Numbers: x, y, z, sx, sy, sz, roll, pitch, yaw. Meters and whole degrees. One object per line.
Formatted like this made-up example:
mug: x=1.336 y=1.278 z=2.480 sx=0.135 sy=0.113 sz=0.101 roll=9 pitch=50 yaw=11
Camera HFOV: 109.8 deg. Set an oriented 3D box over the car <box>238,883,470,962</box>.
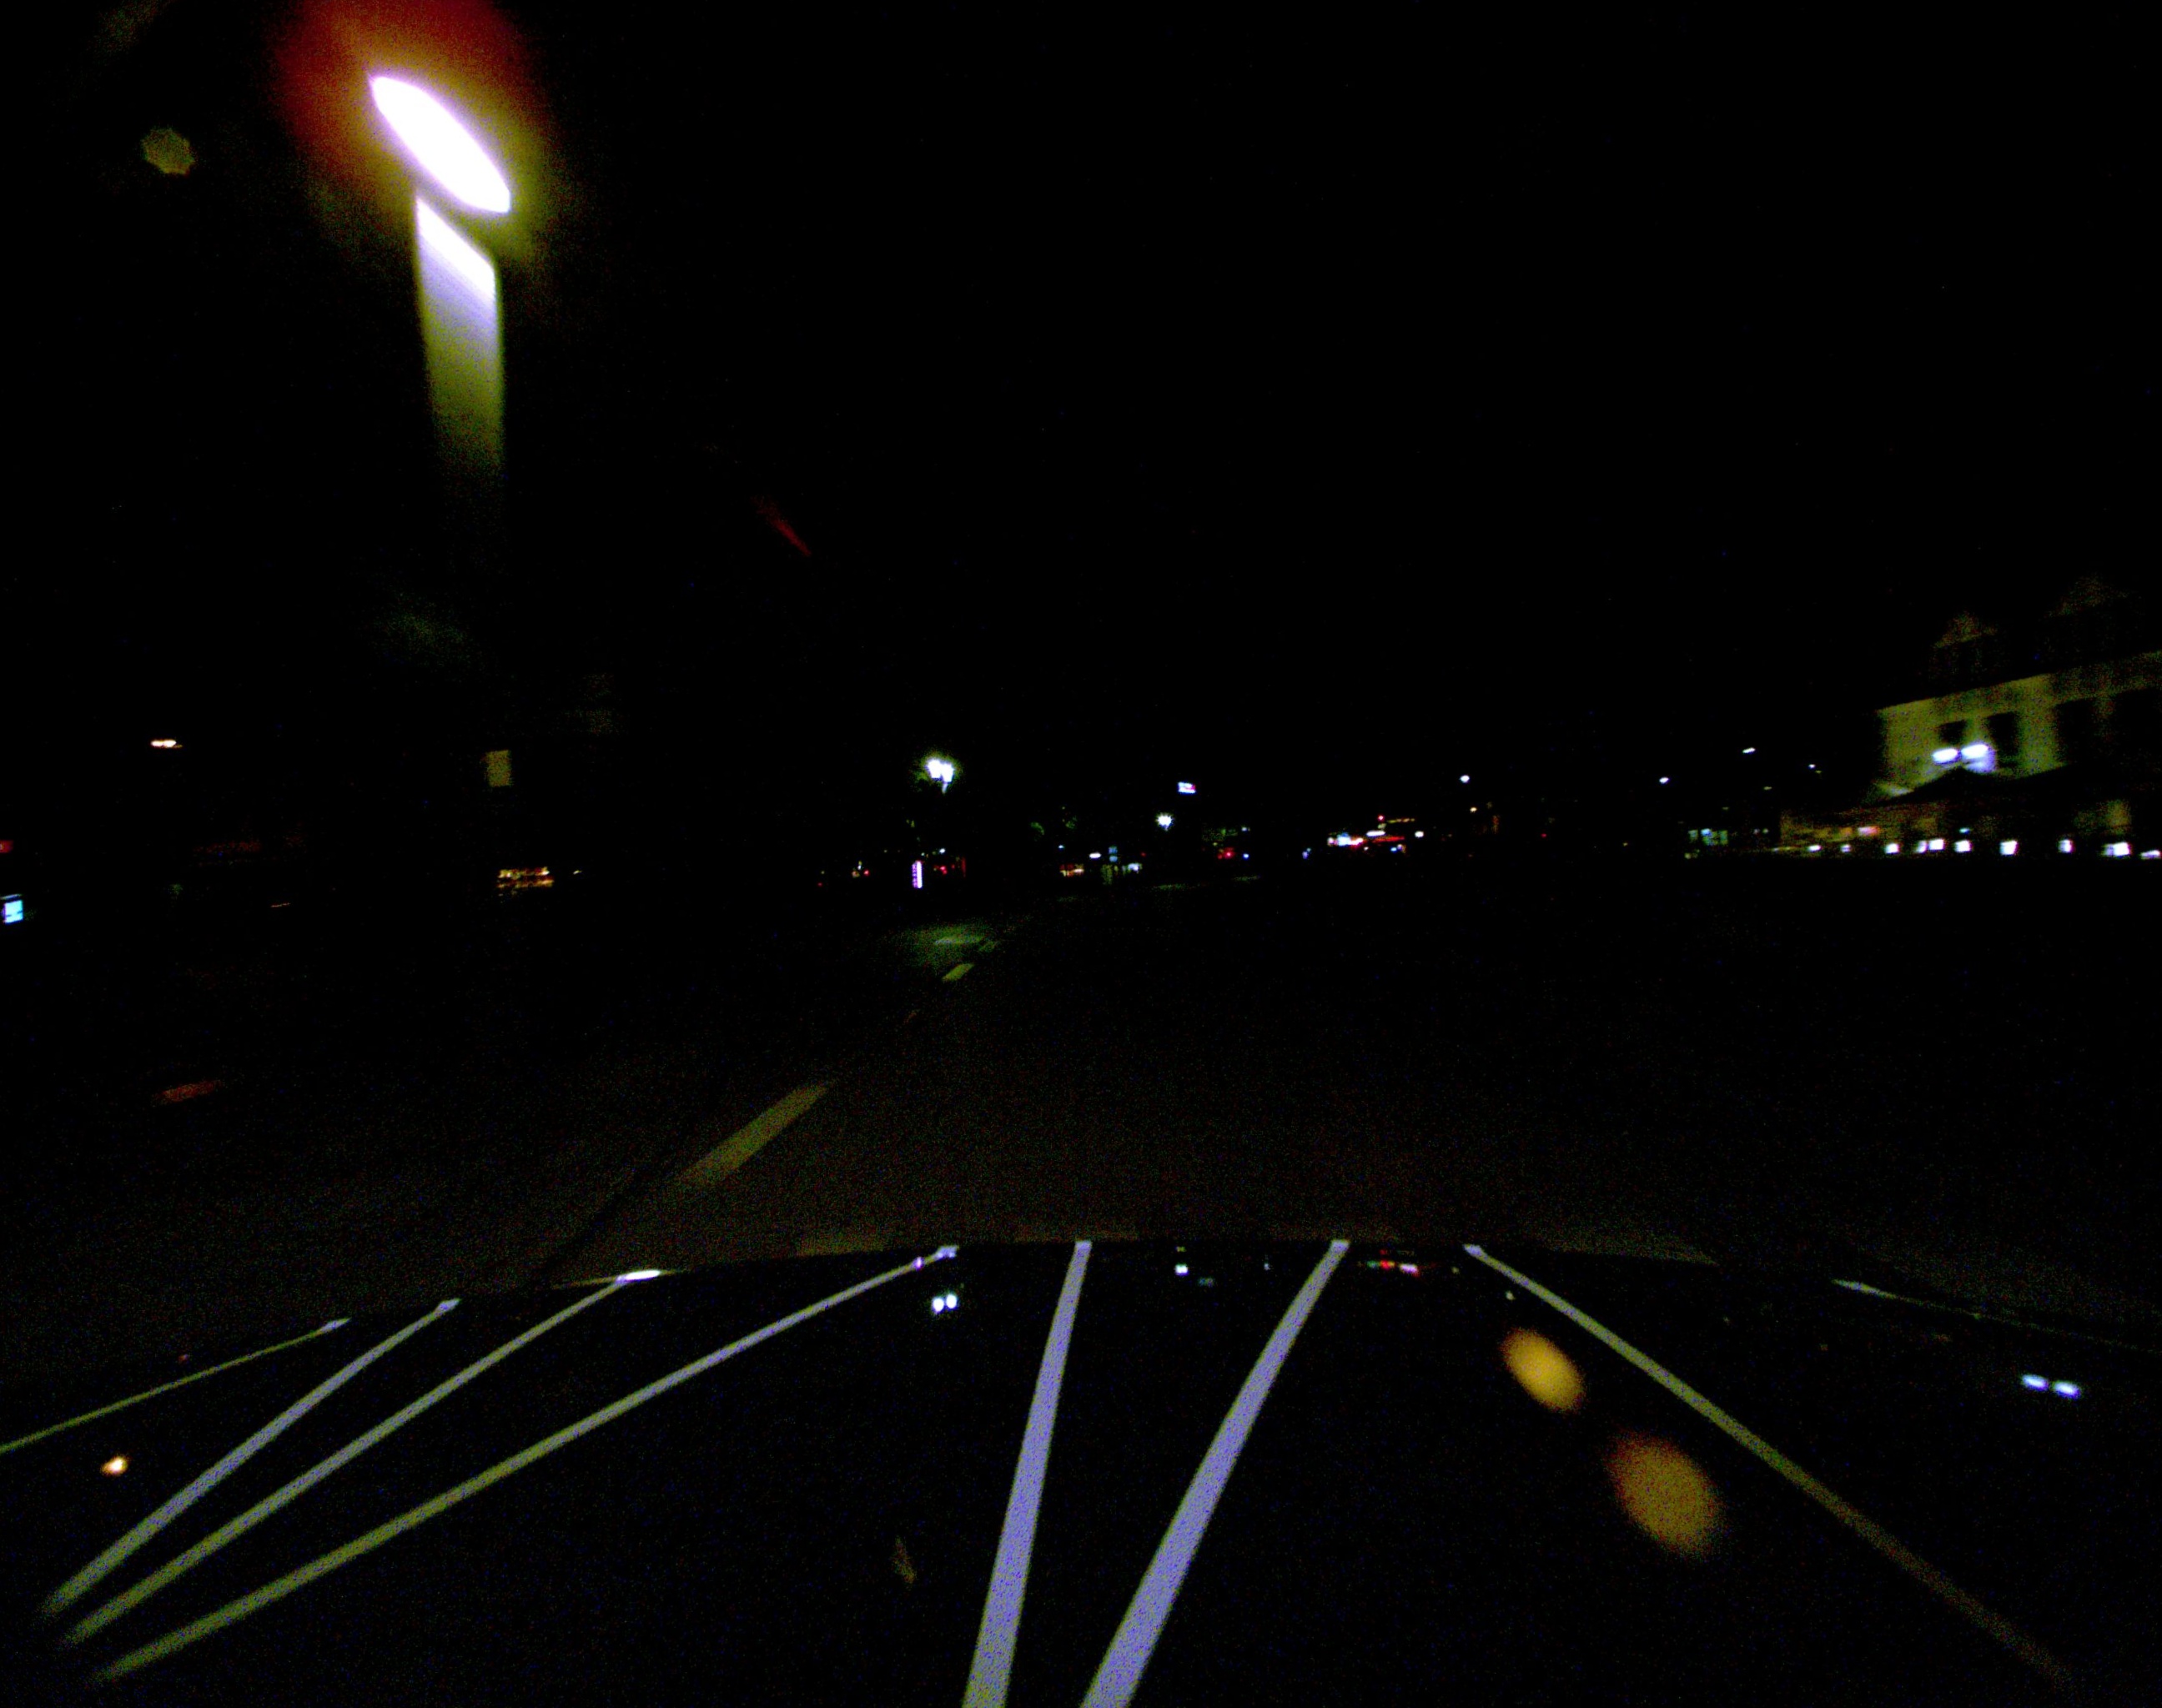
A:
car: x=-18.554 y=1.655 z=19.727 sx=1.999 sy=1.683 sz=4.213 roll=-3 pitch=-2 yaw=-2
